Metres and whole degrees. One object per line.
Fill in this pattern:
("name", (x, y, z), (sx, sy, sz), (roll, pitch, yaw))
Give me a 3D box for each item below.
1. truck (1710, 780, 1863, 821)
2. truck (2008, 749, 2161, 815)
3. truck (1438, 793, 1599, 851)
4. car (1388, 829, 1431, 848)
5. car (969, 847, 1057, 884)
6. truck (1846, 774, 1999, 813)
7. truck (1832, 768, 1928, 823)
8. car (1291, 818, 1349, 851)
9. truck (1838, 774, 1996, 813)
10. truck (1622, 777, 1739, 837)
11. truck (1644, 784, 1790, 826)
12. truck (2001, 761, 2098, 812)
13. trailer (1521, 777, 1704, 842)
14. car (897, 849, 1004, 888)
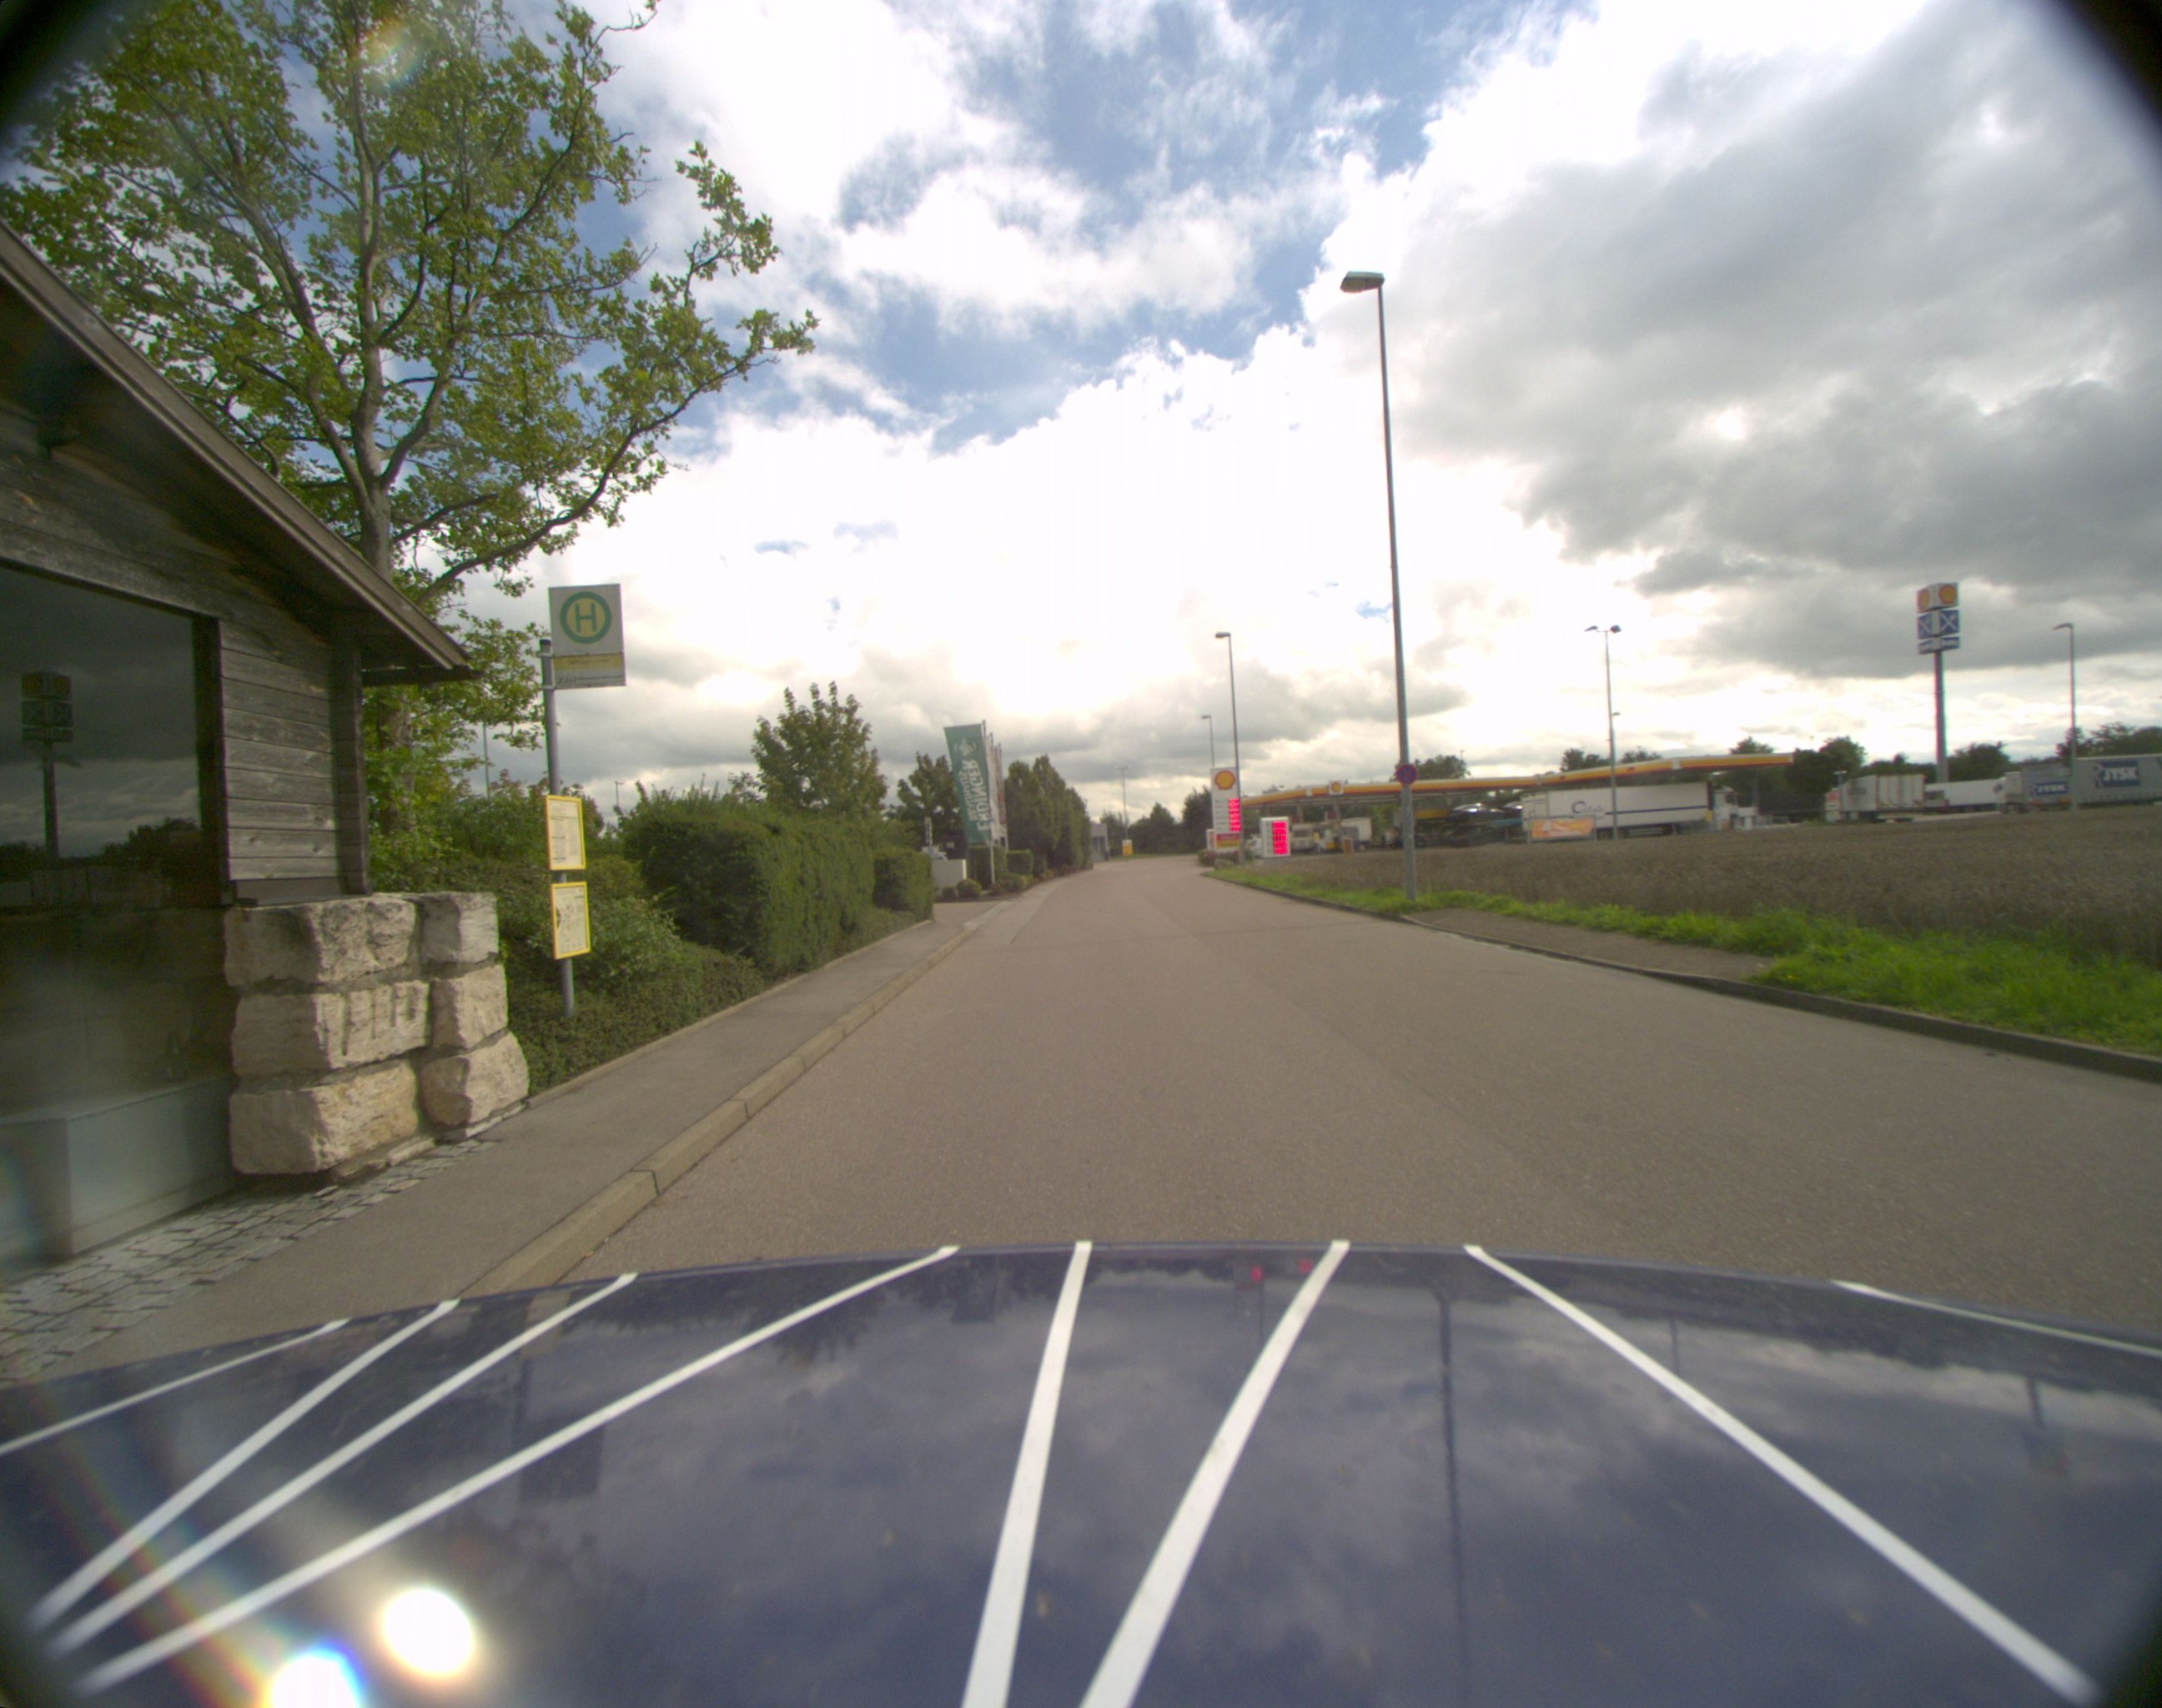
("truck", (83.157, -6.237, 90.099), (12.978, 3.872, 2.829), (-2, 2, 36))
("truck", (71.468, -5.058, 51.674), (15.458, 3.872, 2.822), (-3, 2, -7))
("truck", (35.116, -2.585, 60.850), (13.266, 3.902, 2.748), (-4, 2, -17))
("car", (30.951, -1.479, 71.645), (1.717, 1.592, 3.757), (-4, 0, -13))
("car", (-3.621, 0.611, 41.026), (4.358, 1.706, 1.658), (-3, 1, 8))
("truck", (107.534, -7.661, 97.540), (12.774, 3.872, 2.829), (-2, 2, 35))
("truck", (68.808, -4.969, 65.851), (2.955, 4.089, 14.773), (-2, 2, 35))
("car", (21.966, -1.814, 69.606), (5.818, 2.770, 2.219), (-4, 1, -41))
("truck", (103.171, -7.389, 94.207), (12.774, 3.872, 2.829), (-2, 2, 35))
("truck", (45.427, -3.529, 57.665), (7.169, 4.001, 2.710), (-4, 1, -10))
("truck", (73.682, -5.593, 88.592), (12.774, 3.872, 2.829), (-2, 2, 35))
("truck", (89.398, -6.151, 70.384), (2.986, 4.087, 11.594), (-3, 1, 40))
("trailer", (39.576, -3.292, 56.637), (12.847, 4.001, 2.710), (-4, 1, -10))
("car", (-6.334, 0.698, 37.018), (4.672, 1.687, 1.920), (-2, 2, 12))
